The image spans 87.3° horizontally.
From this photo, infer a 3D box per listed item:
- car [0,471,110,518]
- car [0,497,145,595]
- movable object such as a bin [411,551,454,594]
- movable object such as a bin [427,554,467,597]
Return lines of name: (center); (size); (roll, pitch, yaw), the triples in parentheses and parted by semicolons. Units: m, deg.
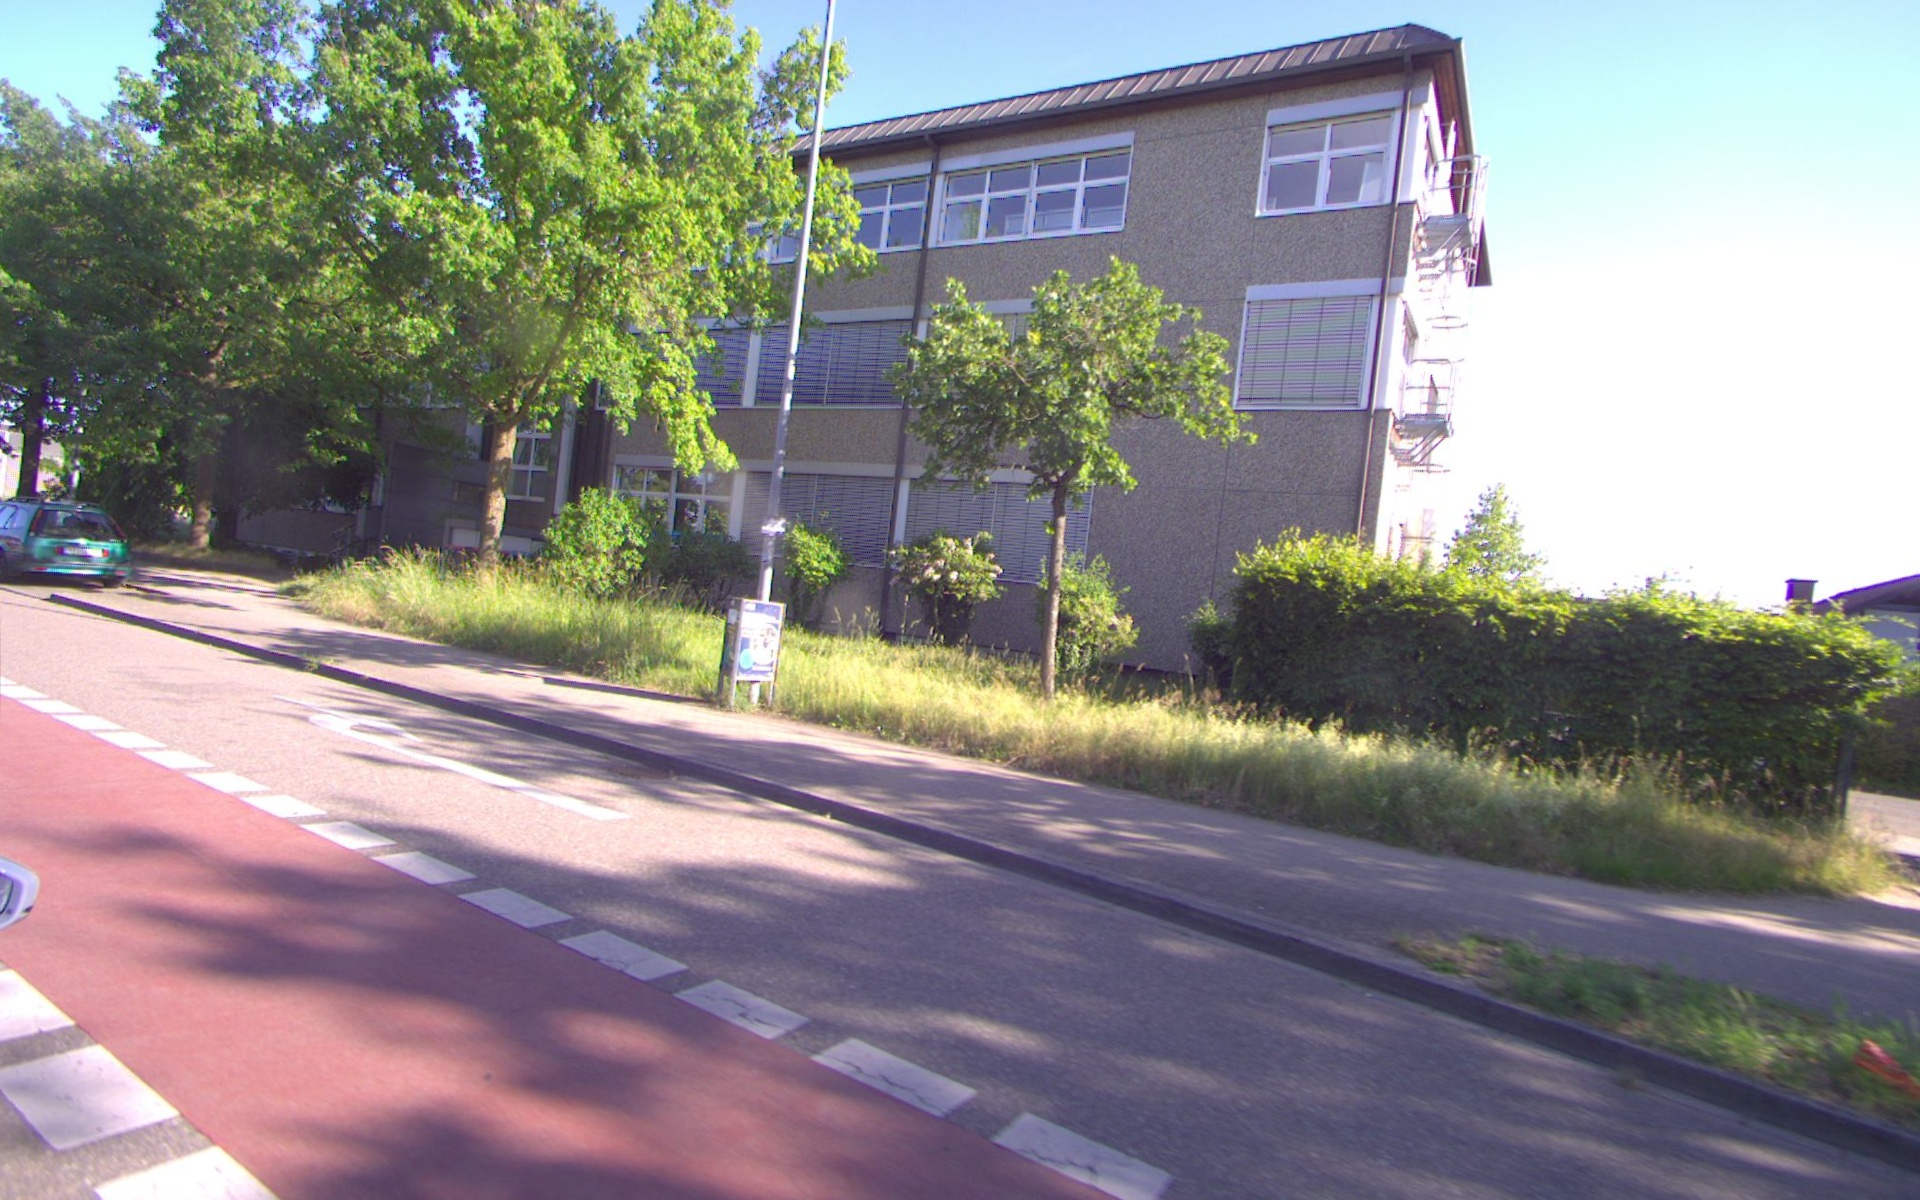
car: (-38.430, -4.441, 42.723); (1.433, 1.311, 3.412); (7, -2, 6)
car: (-16.493, -1.039, 18.034); (4.134, 1.447, 1.594); (6, 1, 32)
movable object such as a bin: (-14.033, -0.727, 26.769); (0.571, 1.045, 0.713); (7, 0, 30)
movable object such as a bin: (-13.486, -0.636, 26.467); (0.566, 1.019, 0.629); (6, -1, 30)
